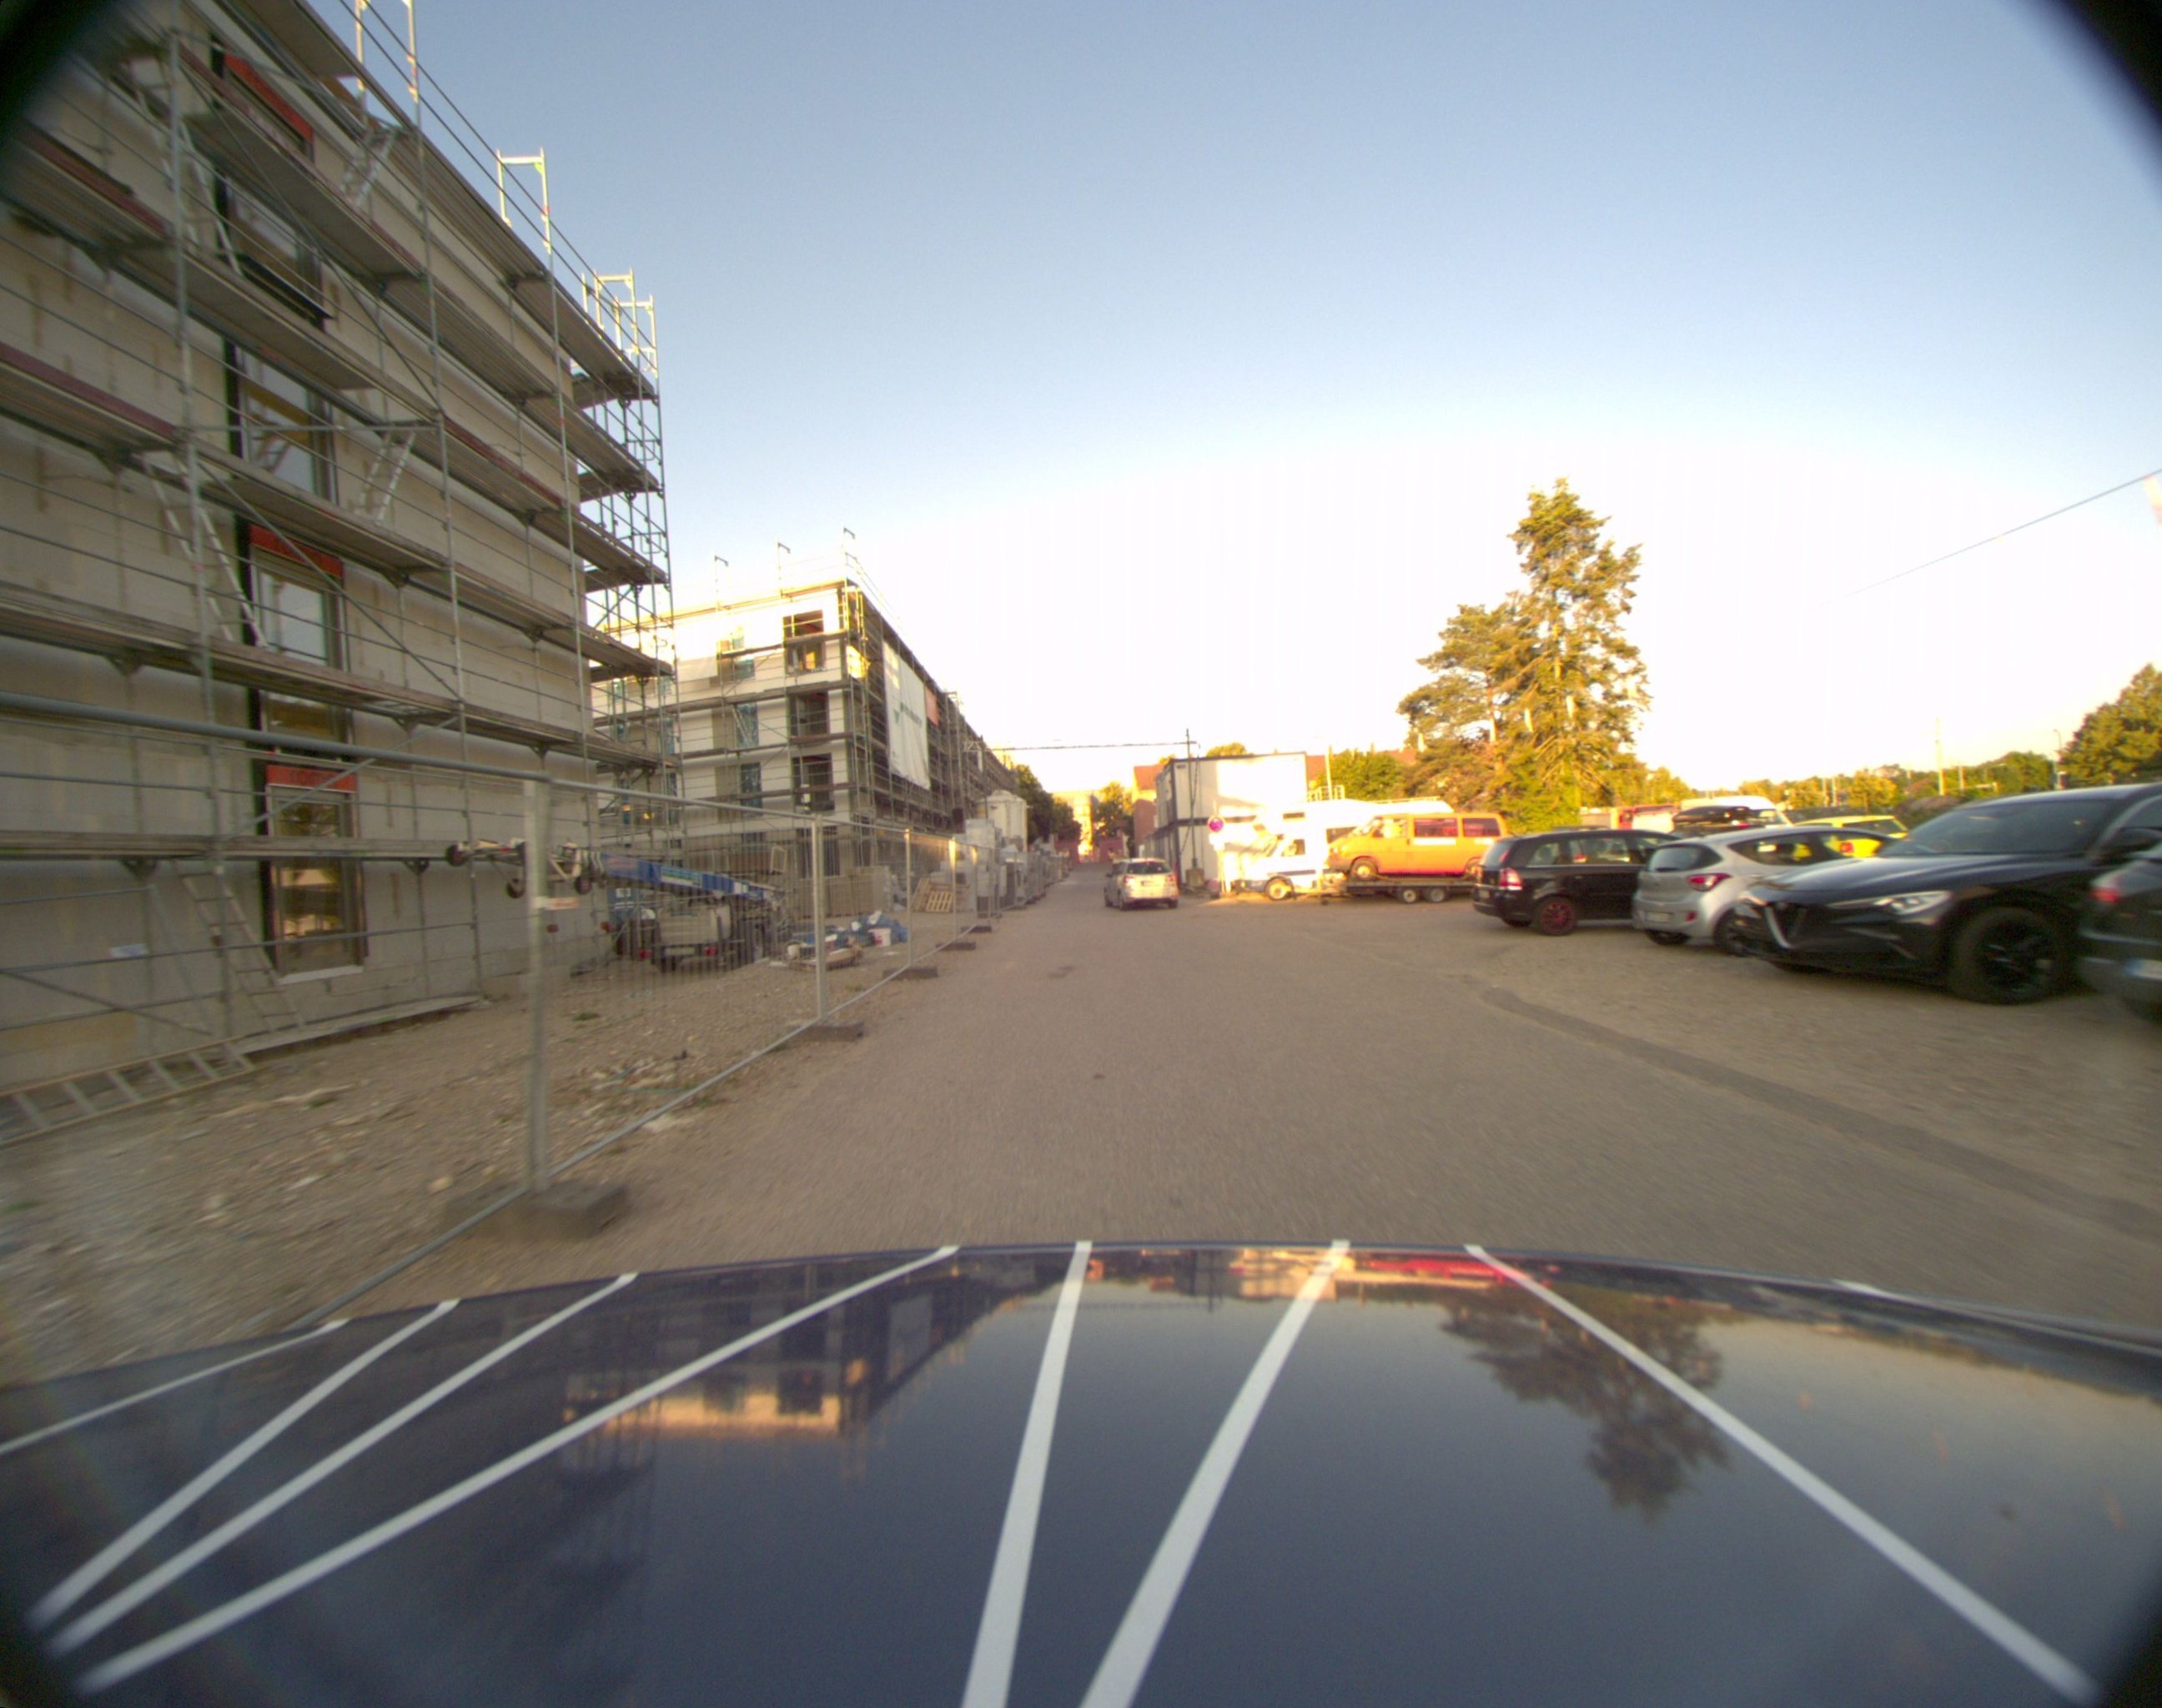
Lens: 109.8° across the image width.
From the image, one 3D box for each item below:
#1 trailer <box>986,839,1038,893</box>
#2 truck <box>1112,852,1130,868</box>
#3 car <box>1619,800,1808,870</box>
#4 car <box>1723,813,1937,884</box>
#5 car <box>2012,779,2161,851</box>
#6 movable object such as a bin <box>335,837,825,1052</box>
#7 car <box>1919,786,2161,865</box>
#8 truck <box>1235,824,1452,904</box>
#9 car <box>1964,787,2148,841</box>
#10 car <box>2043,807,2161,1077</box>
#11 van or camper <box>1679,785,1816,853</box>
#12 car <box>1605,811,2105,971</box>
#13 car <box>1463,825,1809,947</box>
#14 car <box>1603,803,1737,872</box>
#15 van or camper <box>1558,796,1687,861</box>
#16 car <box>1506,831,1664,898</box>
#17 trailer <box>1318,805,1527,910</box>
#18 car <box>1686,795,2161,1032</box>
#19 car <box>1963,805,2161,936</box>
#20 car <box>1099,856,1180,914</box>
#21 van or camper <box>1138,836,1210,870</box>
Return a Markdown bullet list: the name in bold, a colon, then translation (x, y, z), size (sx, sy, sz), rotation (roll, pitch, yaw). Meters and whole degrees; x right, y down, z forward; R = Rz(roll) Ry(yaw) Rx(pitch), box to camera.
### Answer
- **trailer**: translation (-4.004, 0.676, 45.062), size (2.581, 2.895, 6.236), rotation (-2, 0, -2)
- **truck**: translation (5.446, 0.805, 103.980), size (1.842, 2.089, 3.738), rotation (-5, 0, -5)
- **car**: translation (16.180, -0.457, 19.740), size (1.847, 1.514, 3.940), rotation (-4, 0, 6)
- **car**: translation (18.899, -0.144, 19.463), size (1.847, 1.514, 3.940), rotation (-4, 0, 7)
- **car**: translation (26.011, -0.964, 18.589), size (1.847, 1.659, 3.940), rotation (-4, 0, 7)
- **movable object such as a bin**: translation (-6.851, 0.995, 12.424), size (2.070, 2.260, 8.369), rotation (-2, 0, 3)
- **car**: translation (23.634, -0.653, 18.715), size (1.847, 1.659, 3.940), rotation (-4, 0, 7)
- **truck**: translation (8.147, 0.306, 24.160), size (6.025, 2.031, 2.356), rotation (-4, 0, 4)
- **car**: translation (40.276, -1.575, 31.643), size (2.054, 1.925, 5.111), rotation (-3, 0, 16)
- **car**: translation (7.960, 0.399, 3.693), size (3.932, 1.508, 1.644), rotation (-4, 1, 11)
- **van or camper**: translation (29.932, -1.477, 34.429), size (2.206, 2.692, 5.753), rotation (-3, 0, 14)
- **car**: translation (9.187, 0.465, 9.422), size (3.932, 1.511, 1.811), rotation (-5, -1, 11)
- **car**: translation (8.648, 0.492, 12.242), size (4.043, 1.610, 1.851), rotation (-4, 0, 11)
- **car**: translation (21.145, -0.487, 27.570), size (1.846, 2.135, 4.828), rotation (-4, -2, 13)
- **van or camper**: translation (26.030, -1.137, 36.847), size (2.261, 2.754, 5.801), rotation (-4, 0, 4)
- **car**: translation (13.236, 0.243, 20.263), size (1.847, 1.514, 3.940), rotation (-4, 0, 6)
- **trailer**: translation (9.360, 0.078, 21.242), size (4.801, 2.419, 2.135), rotation (-5, 2, 8)
- **car**: translation (7.902, 0.392, 6.339), size (4.098, 1.618, 1.821), rotation (-3, -1, 4)
- **car**: translation (13.791, 0.150, 9.256), size (1.846, 1.514, 4.154), rotation (-4, 0, 13)
- **car**: translation (1.779, 0.919, 24.407), size (1.676, 1.610, 4.283), rotation (-4, 0, -7)
- **van or camper**: translation (8.837, -0.061, 72.875), size (6.469, 2.624, 2.407), rotation (-6, 0, 3)
